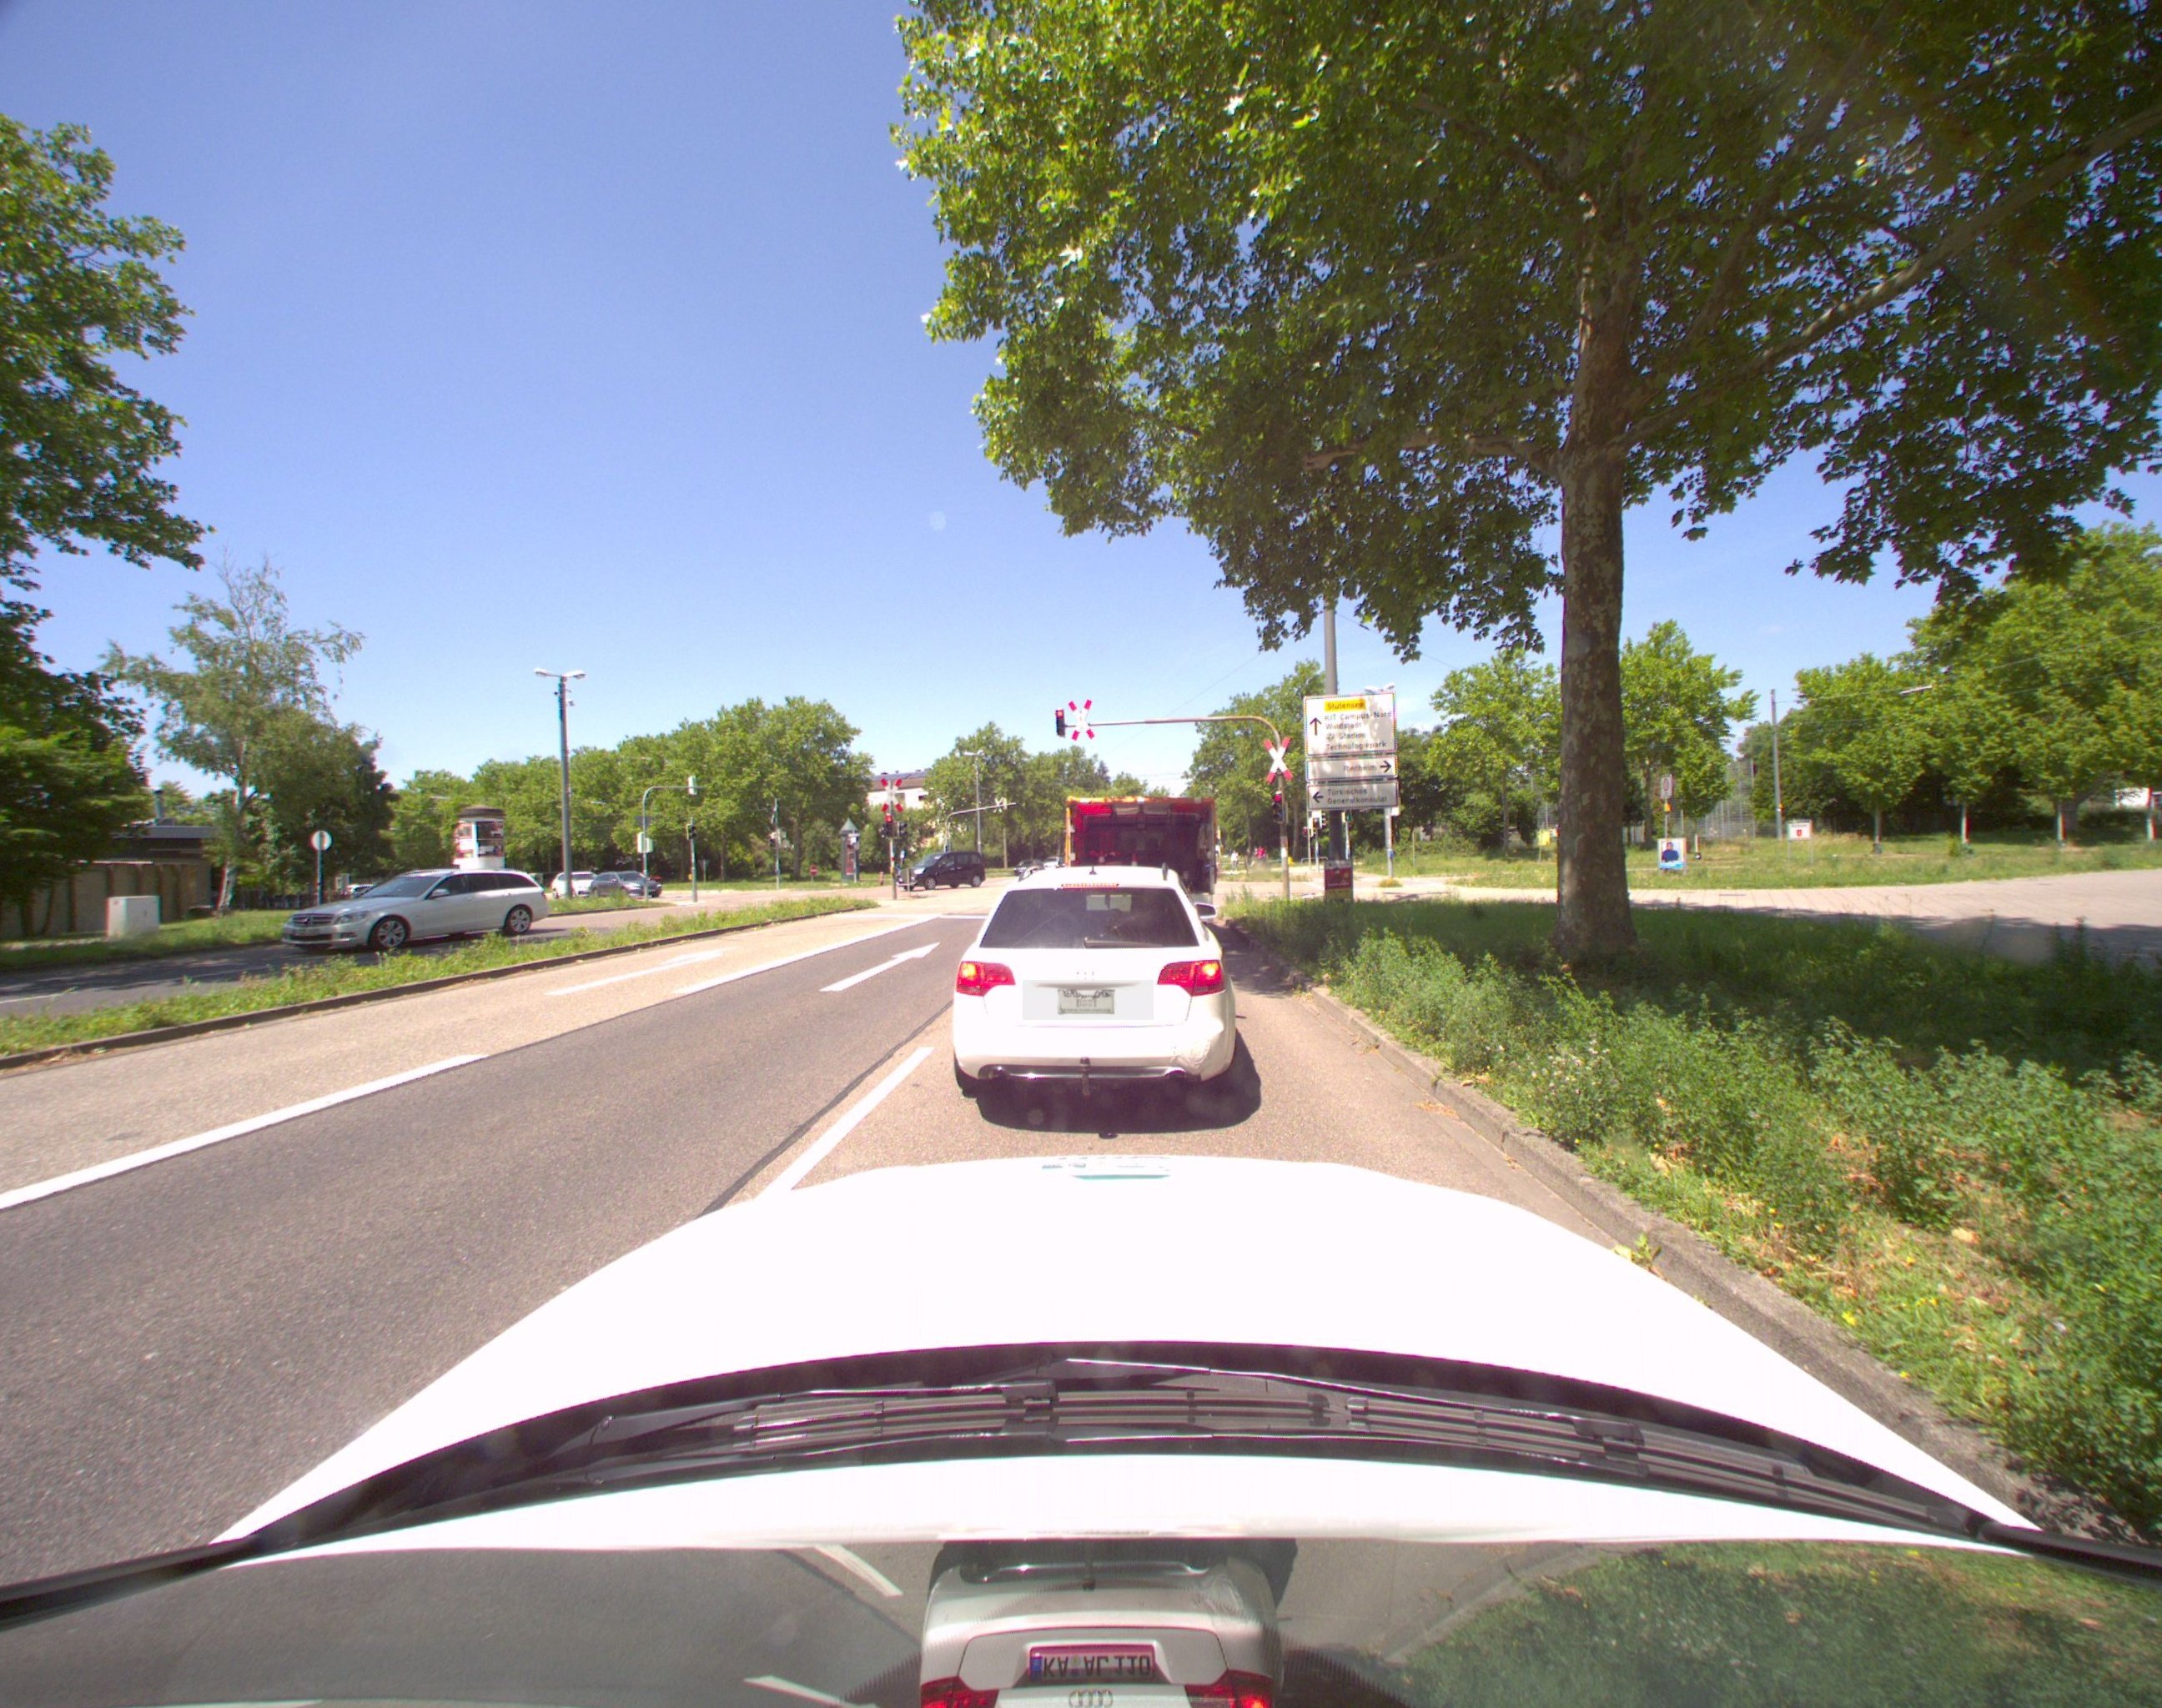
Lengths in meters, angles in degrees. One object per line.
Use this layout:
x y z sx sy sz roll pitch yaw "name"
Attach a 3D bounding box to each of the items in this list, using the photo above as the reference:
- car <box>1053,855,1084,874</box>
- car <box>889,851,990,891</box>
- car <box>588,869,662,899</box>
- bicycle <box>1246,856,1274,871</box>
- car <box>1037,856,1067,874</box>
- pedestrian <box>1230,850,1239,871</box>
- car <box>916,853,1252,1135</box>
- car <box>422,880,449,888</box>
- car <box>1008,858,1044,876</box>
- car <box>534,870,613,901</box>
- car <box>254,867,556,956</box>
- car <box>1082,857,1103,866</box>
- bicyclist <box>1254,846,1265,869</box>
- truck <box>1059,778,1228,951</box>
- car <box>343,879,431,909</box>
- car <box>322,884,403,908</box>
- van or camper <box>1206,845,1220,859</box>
-1.131 0.923 74.328 1.897 1.539 4.312 -2 0 11 "car"
-6.577 0.768 38.259 1.893 1.679 4.472 -2 0 41 "car"
-24.078 1.594 42.948 3.941 1.457 1.776 -2 0 34 "car"
12.220 0.651 55.631 1.794 0.895 0.590 -2 0 9 "bicycle"
-2.876 1.064 81.049 1.774 1.615 4.421 -2 0 14 "car"
11.008 0.431 58.382 0.548 1.484 0.632 -2 0 18 "pedestrian"
0.192 0.736 6.087 1.754 1.445 3.622 -1 0 6 "car"
-88.142 4.128 111.238 0.996 0.994 2.738 -2 0 31 "car"
-4.918 1.166 73.751 1.936 1.440 4.763 -1 1 12 "car"
-29.316 1.811 47.001 4.403 1.604 2.231 -2 0 34 "car"
-13.358 1.053 16.558 1.842 1.418 4.560 -2 0 10 "car"
2.004 1.280 139.385 1.864 1.393 4.025 -2 0 28 "car"
12.210 0.236 55.633 0.667 1.556 0.581 -2 0 10 "bicyclist"
1.256 0.187 15.938 2.499 2.559 7.613 0 0 5 "truck"
-44.805 2.555 52.689 1.769 1.651 4.201 -2 0 6 "car"
-51.832 3.025 58.853 1.930 1.423 4.070 -2 0 8 "car"
32.281 -0.494 199.298 2.640 3.331 5.524 -2 0 16 "van or camper"
